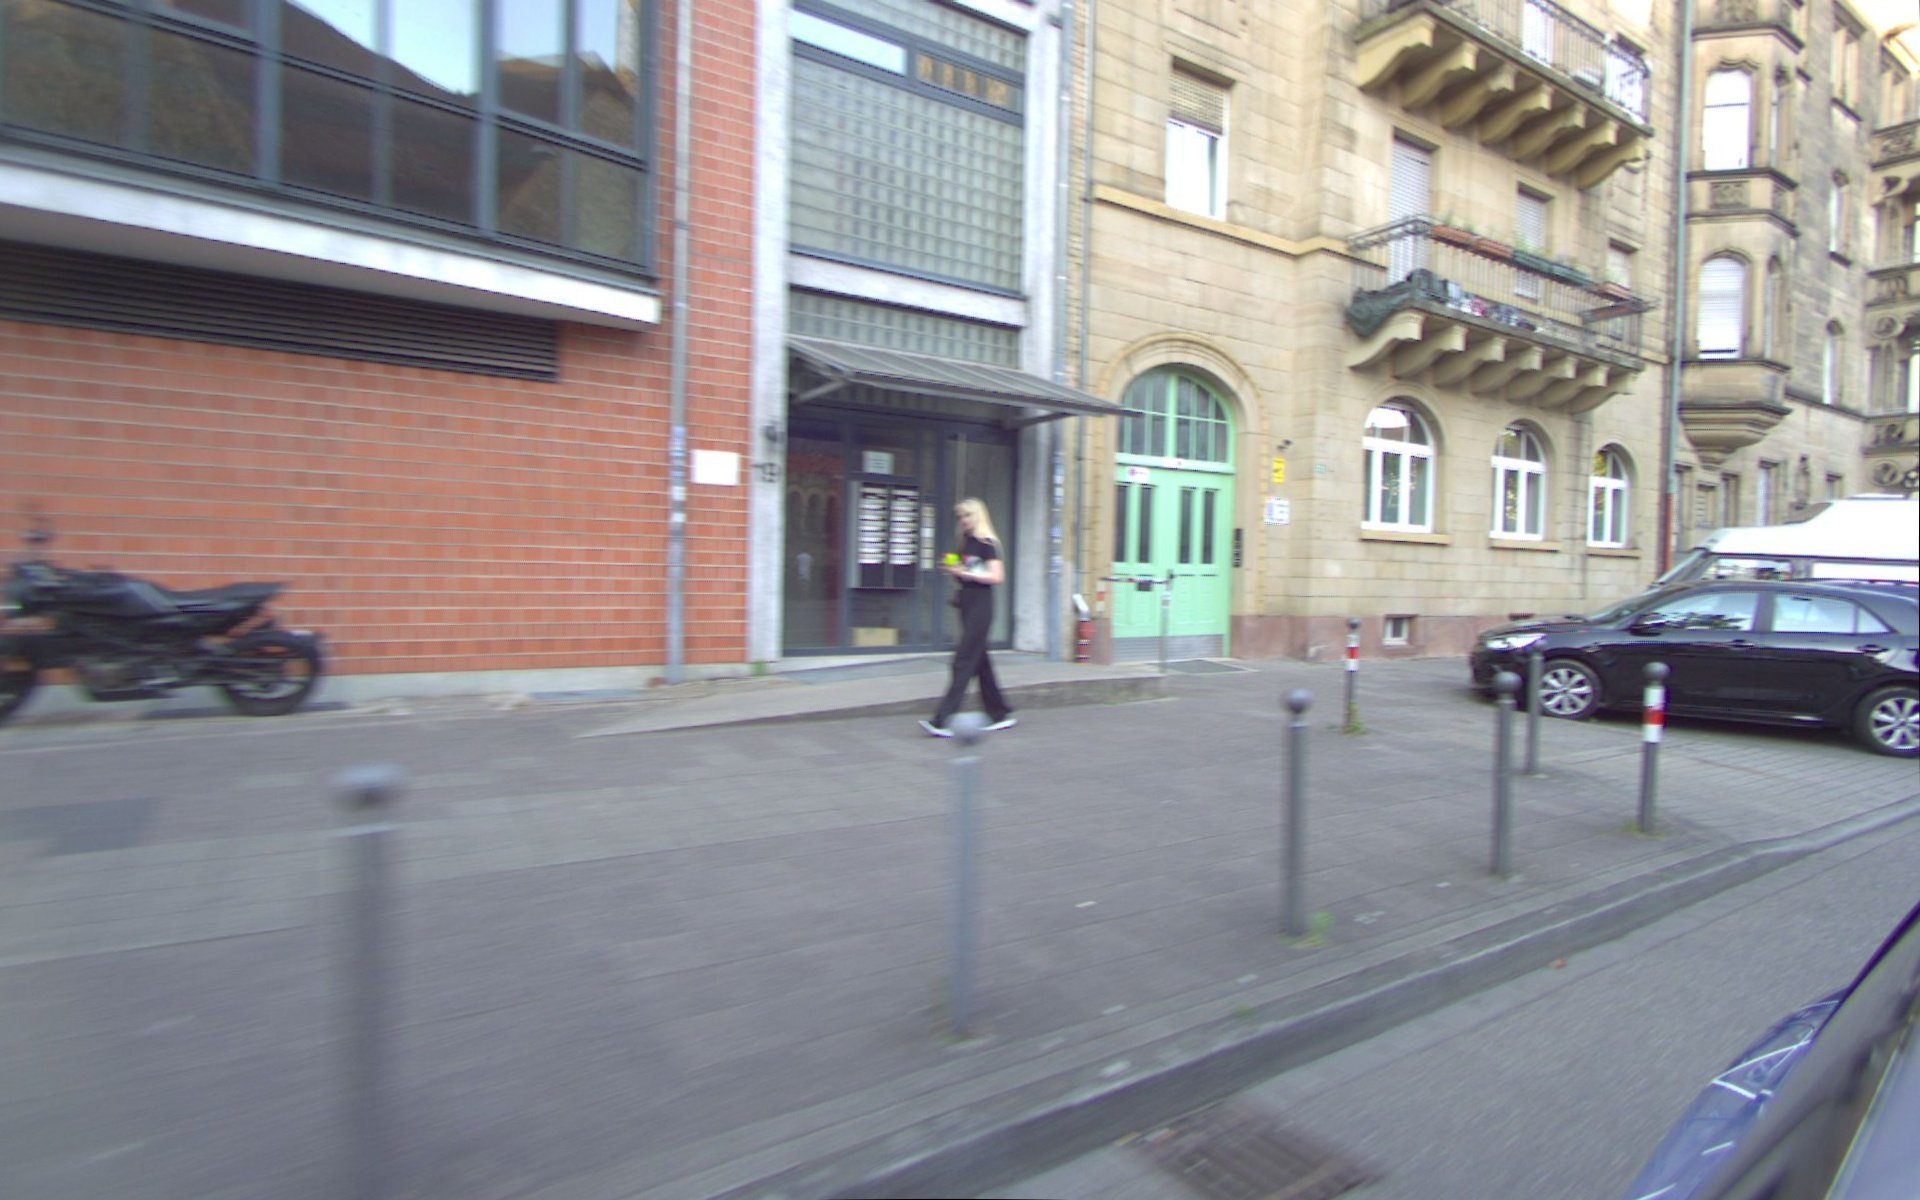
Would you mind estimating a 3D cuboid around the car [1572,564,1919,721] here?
[{"bbox_3d":[9.423,0.400,11.281,4.319,1.521,1.894,2,2,30],"label":"car"}]

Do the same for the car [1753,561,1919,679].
[{"bbox_3d":[14.011,0.330,14.027,4.358,1.504,1.827,5,4,27],"label":"car"}]

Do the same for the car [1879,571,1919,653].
[{"bbox_3d":[20.287,0.336,18.994,4.011,1.516,1.742,4,4,22],"label":"car"}]

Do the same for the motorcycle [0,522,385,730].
[{"bbox_3d":[-5.027,0.125,6.375,2.393,1.153,0.803,0,4,-34],"label":"motorcycle"}]

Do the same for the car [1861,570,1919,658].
[{"bbox_3d":[18.466,0.343,17.360,3.991,1.448,1.855,4,4,23],"label":"car"}]

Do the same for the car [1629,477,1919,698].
[{"bbox_3d":[11.407,-0.181,12.777,4.683,2.578,1.900,2,2,28],"label":"car"}]

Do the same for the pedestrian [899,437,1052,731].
[{"bbox_3d":[0.103,-0.134,7.469,0.841,2.037,0.610,0,5,-32],"label":"pedestrian"}]

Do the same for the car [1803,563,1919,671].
[{"bbox_3d":[16.056,0.304,15.793,4.087,1.564,1.778,3,5,30],"label":"car"}]

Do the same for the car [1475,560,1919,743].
[{"bbox_3d":[7.396,0.402,9.994,4.030,1.510,1.708,2,2,27],"label":"car"}]
